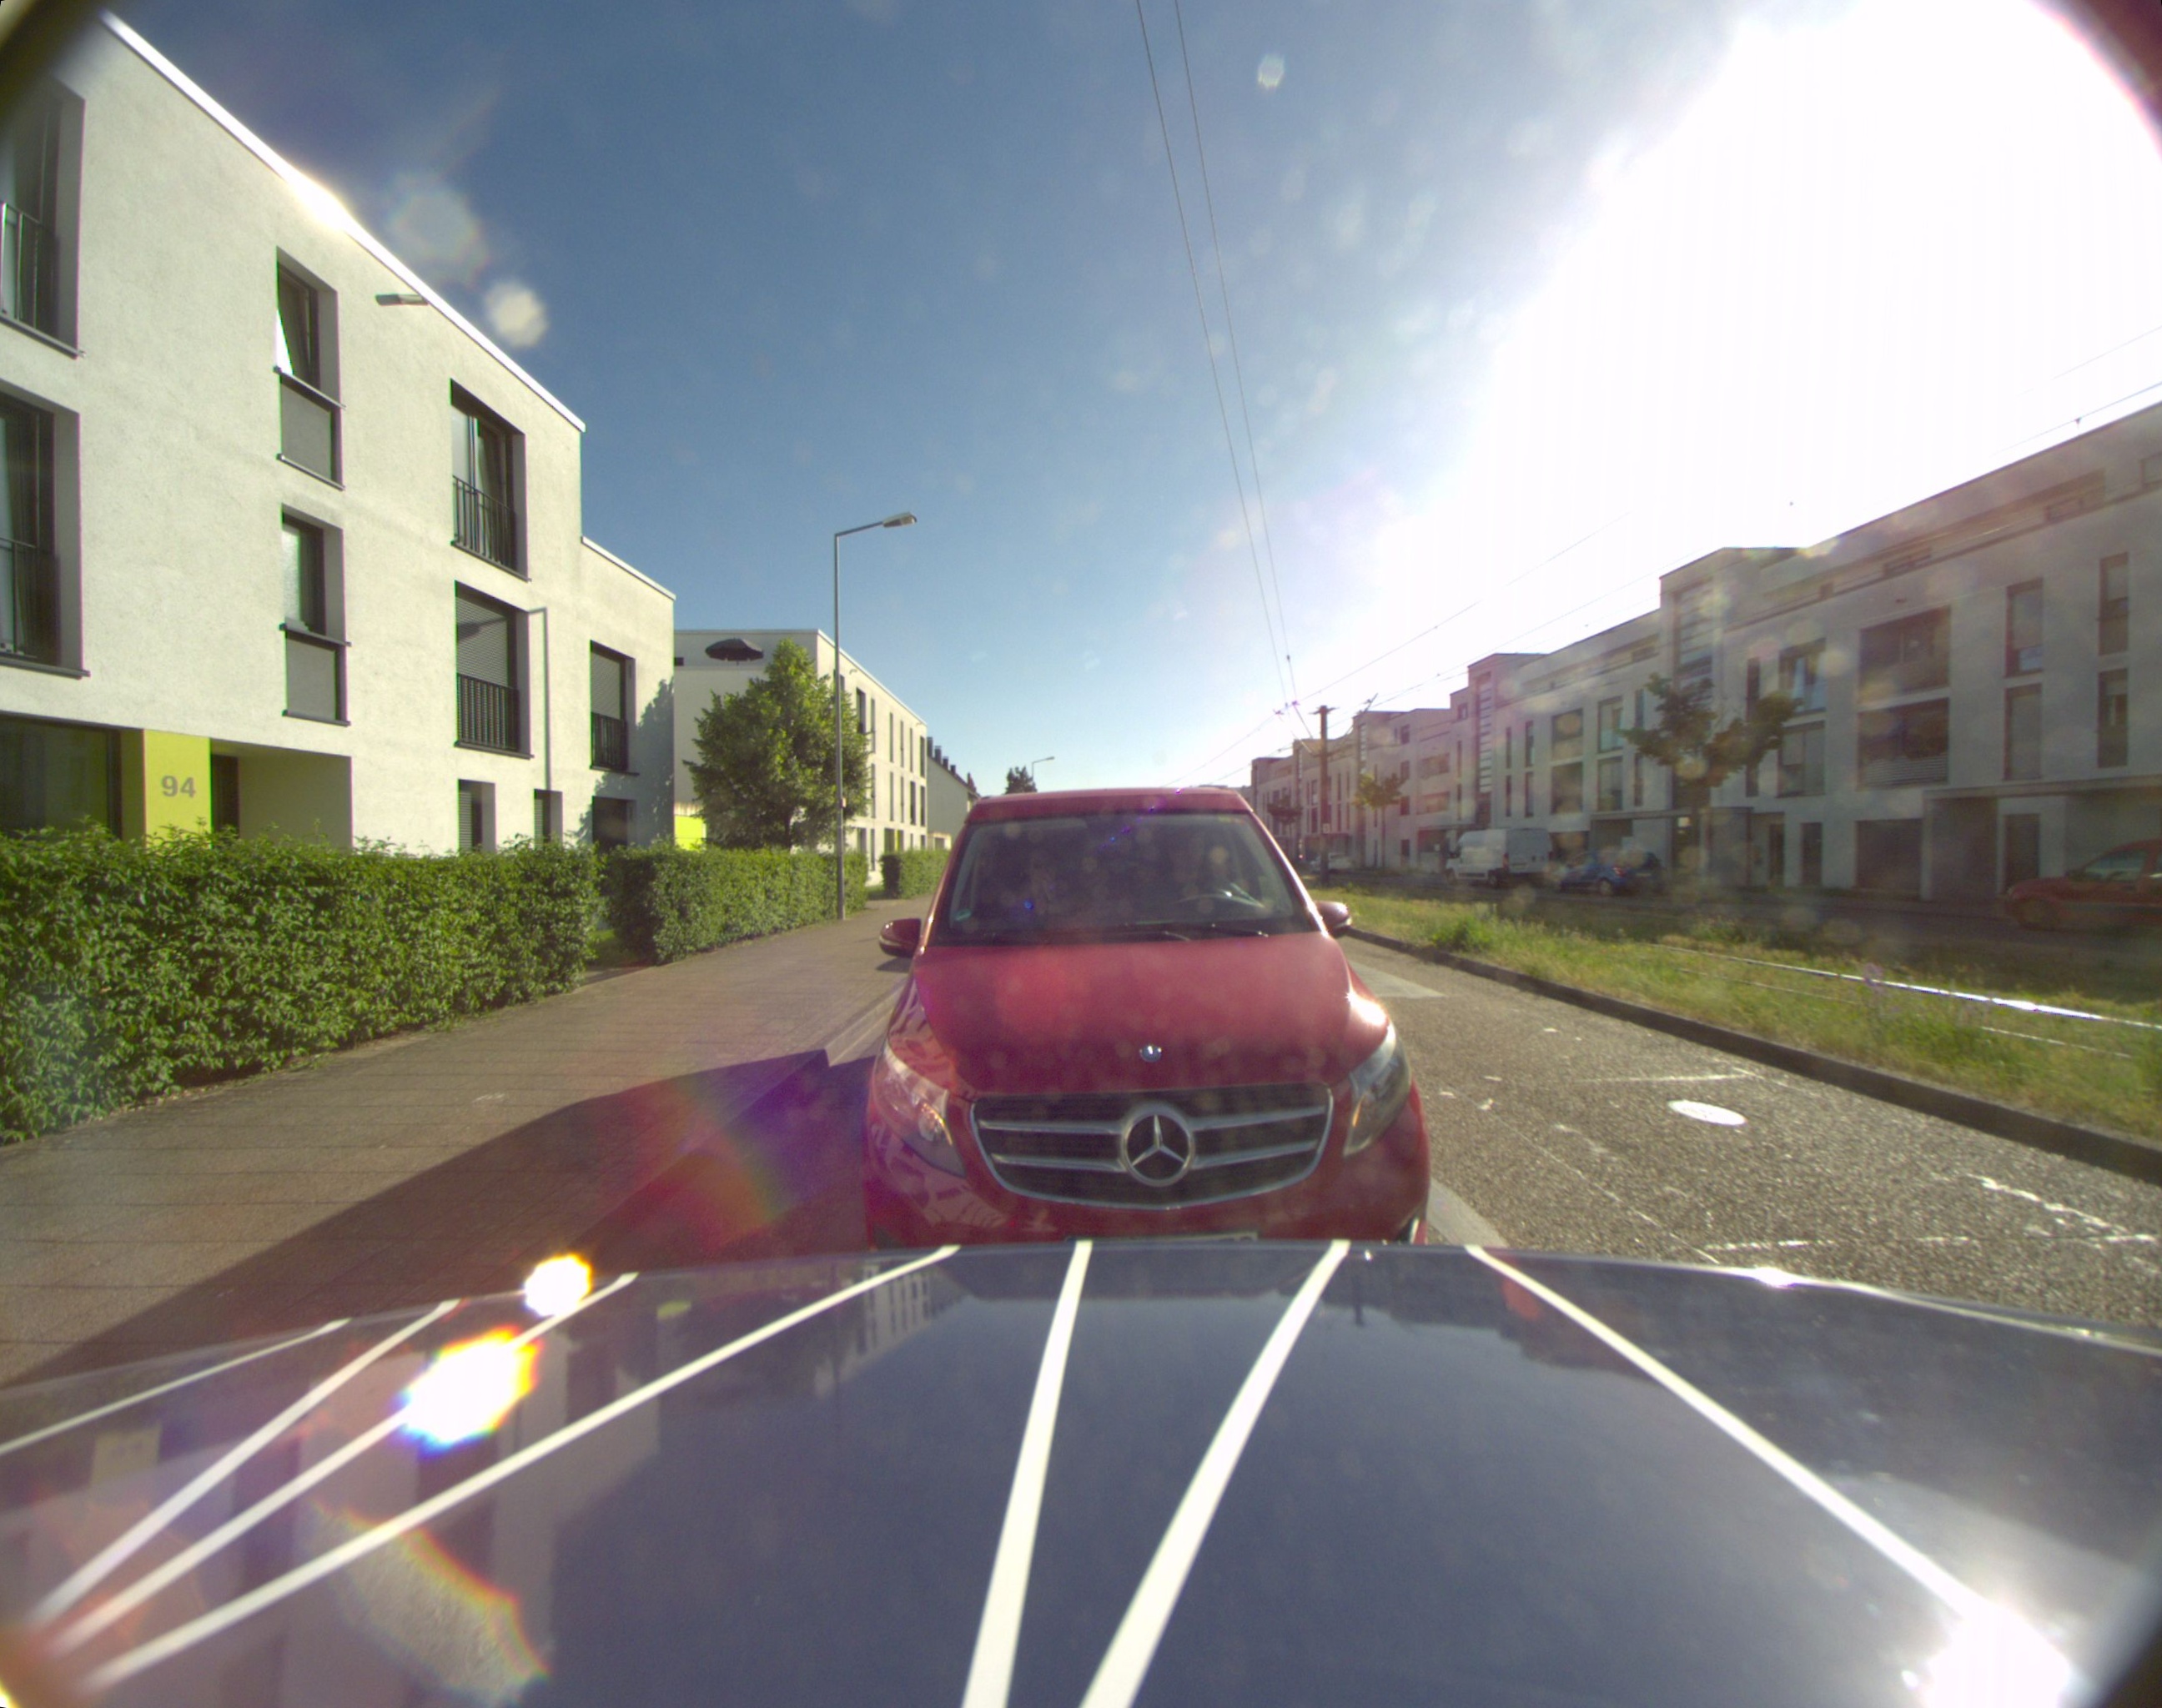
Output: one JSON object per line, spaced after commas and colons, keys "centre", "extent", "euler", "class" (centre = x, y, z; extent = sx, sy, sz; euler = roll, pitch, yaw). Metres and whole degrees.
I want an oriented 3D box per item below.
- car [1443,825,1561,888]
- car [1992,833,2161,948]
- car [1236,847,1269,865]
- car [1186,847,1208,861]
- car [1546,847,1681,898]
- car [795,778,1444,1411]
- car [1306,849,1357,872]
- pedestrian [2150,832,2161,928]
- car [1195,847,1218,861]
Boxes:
{"centre": [18.168, 0.082, 33.136], "extent": [2.225, 2.458, 5.195], "euler": [-2, 1, 0], "class": "car"}
{"centre": [18.616, 0.585, 12.774], "extent": [1.998, 1.817, 3.895], "euler": [-2, 1, 3], "class": "car"}
{"centre": [16.719, 0.142, 74.320], "extent": [1.923, 1.671, 4.282], "euler": [-2, 1, -4], "class": "car"}
{"centre": [15.189, -0.049, 99.623], "extent": [1.923, 1.671, 4.282], "euler": [-2, 1, -4], "class": "car"}
{"centre": [18.376, 0.583, 26.465], "extent": [1.998, 1.536, 3.835], "euler": [-2, 1, 0], "class": "car"}
{"centre": [0.151, 0.706, 4.526], "extent": [1.874, 1.843, 4.506], "euler": [-2, 1, 1], "class": "car"}
{"centre": [17.634, 0.423, 53.705], "extent": [1.923, 1.497, 4.282], "euler": [-2, 1, -4], "class": "car"}
{"centre": [20.691, 0.484, 14.037], "extent": [0.776, 1.812, 0.785], "euler": [-2, 1, 1], "class": "pedestrian"}
{"centre": [15.476, -0.027, 93.872], "extent": [1.923, 1.671, 4.282], "euler": [-2, 1, -4], "class": "car"}
